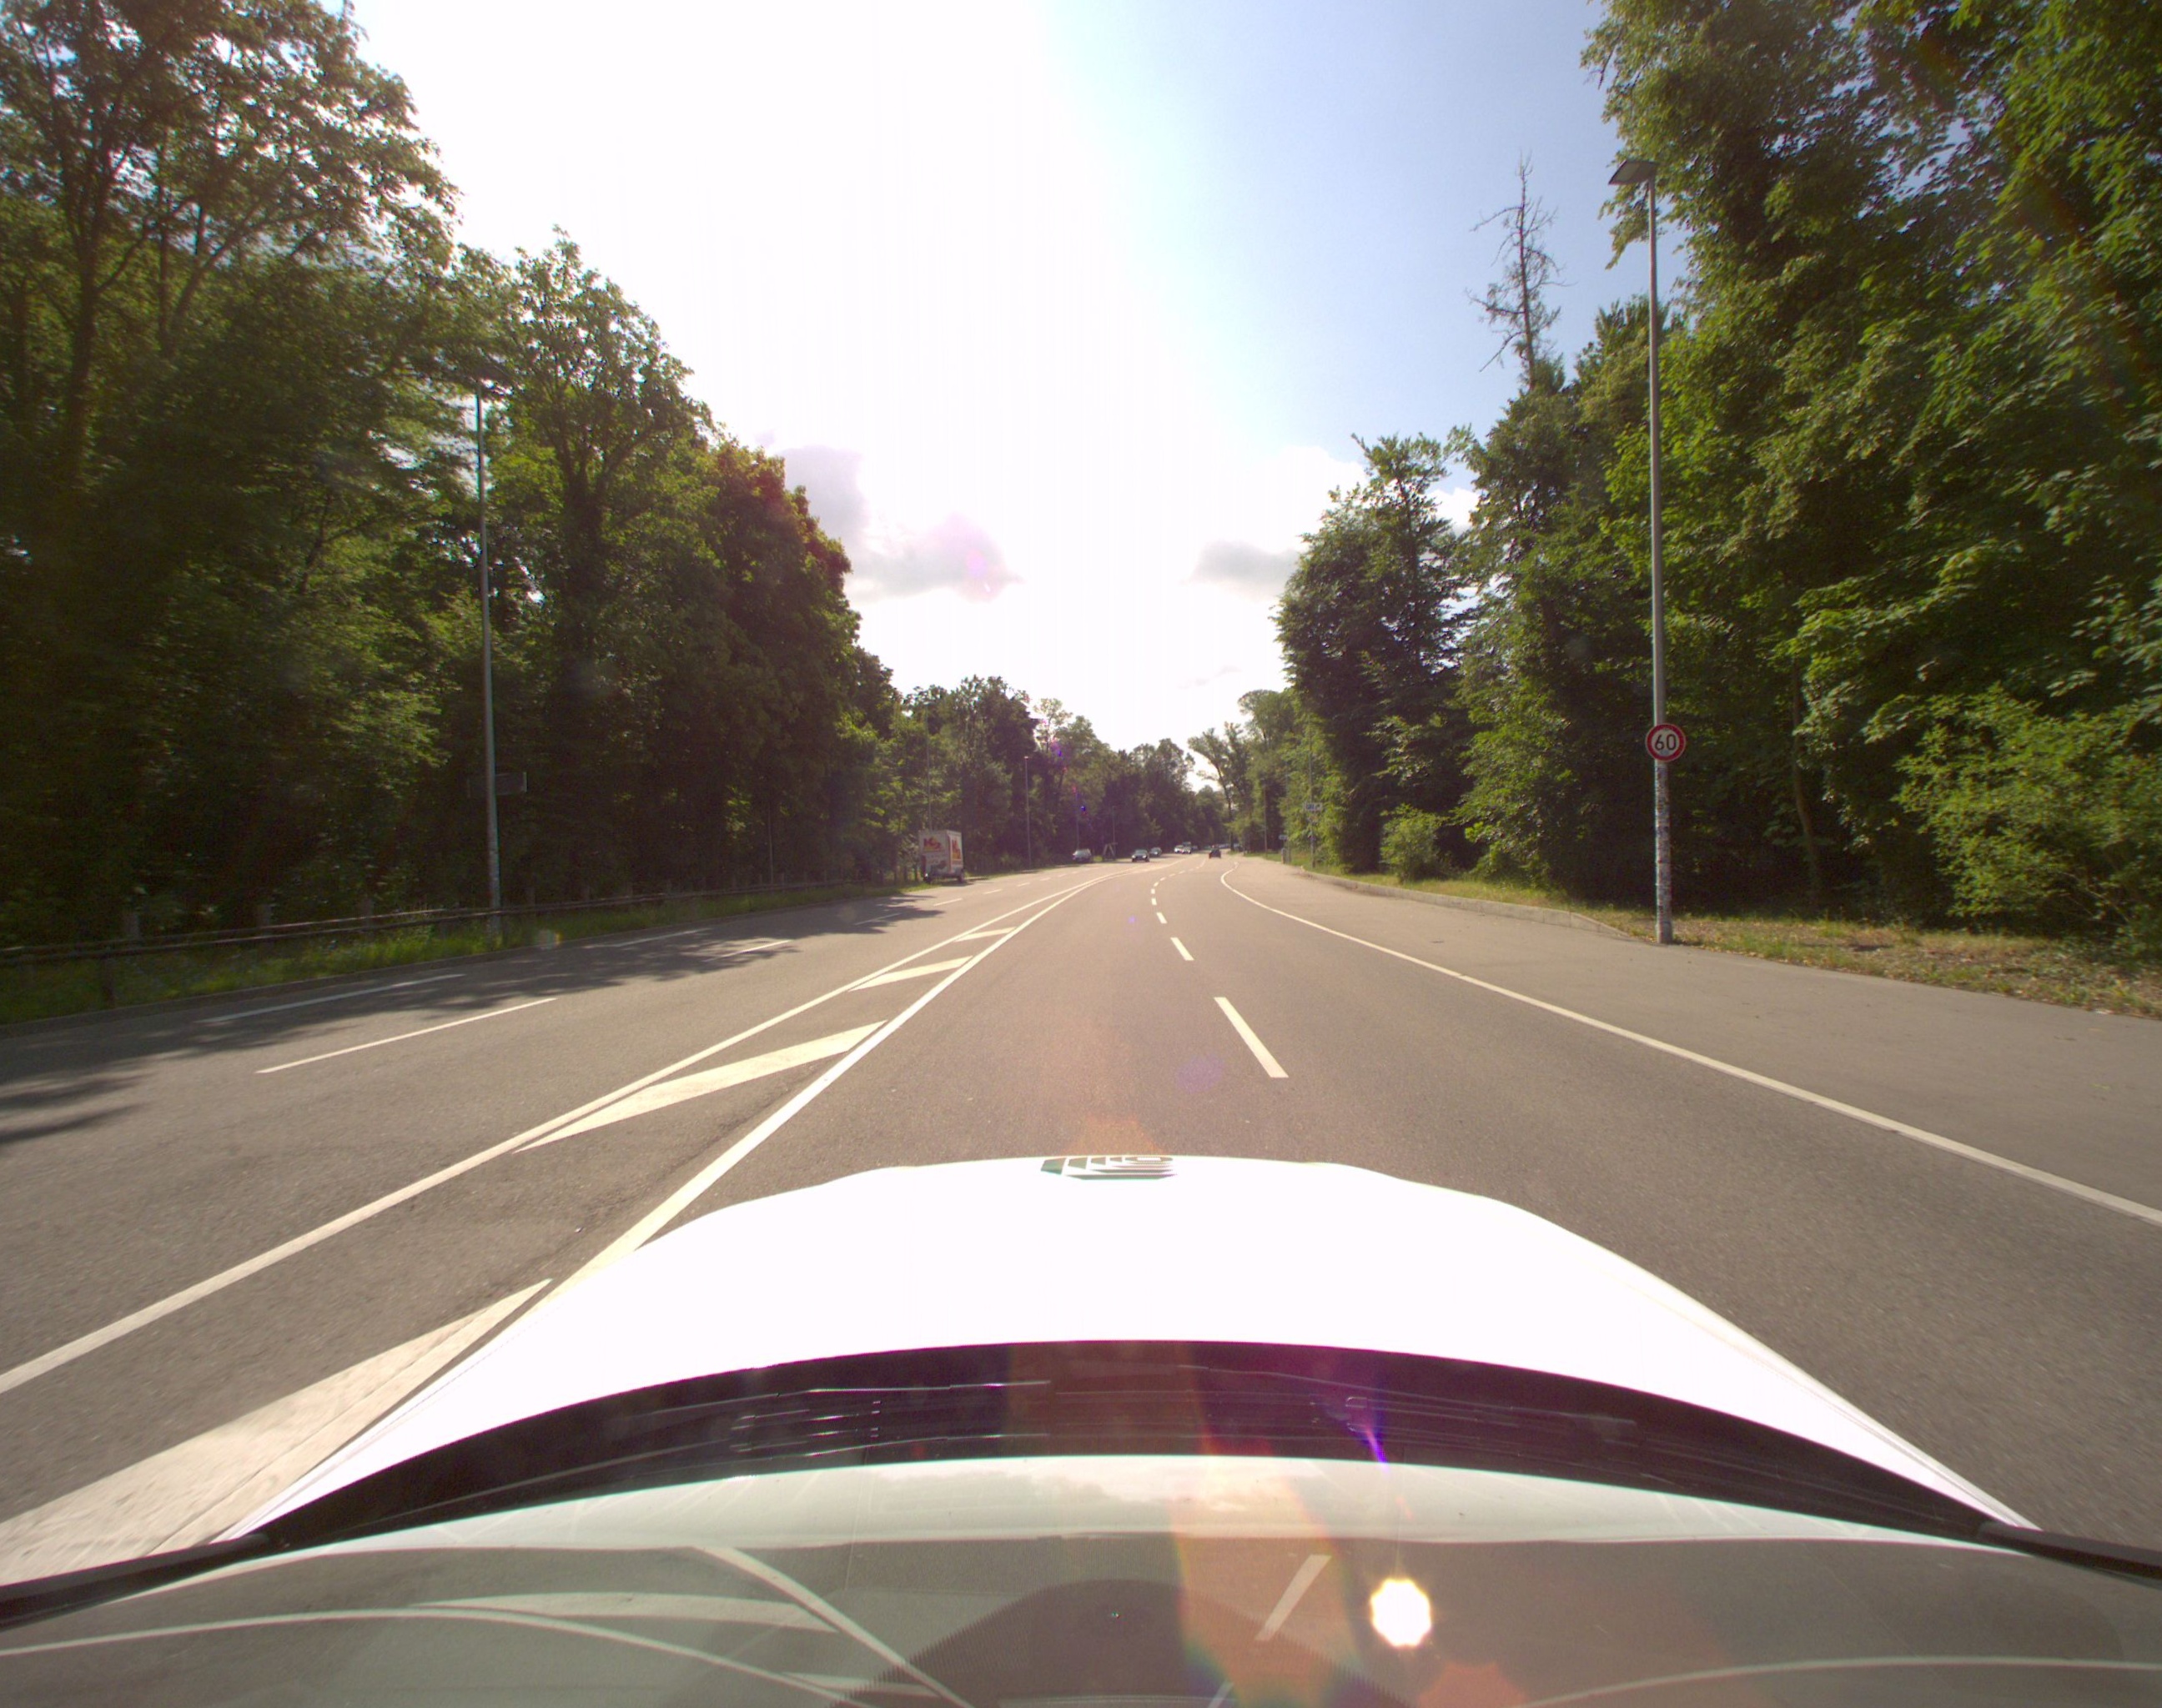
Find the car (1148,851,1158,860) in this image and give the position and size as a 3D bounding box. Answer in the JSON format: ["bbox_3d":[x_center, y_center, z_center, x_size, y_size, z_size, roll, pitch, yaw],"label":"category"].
[{"bbox_3d":[12.153,0.206,137.347,1.496,1.446,3.534,-1,0,5],"label":"car"}]

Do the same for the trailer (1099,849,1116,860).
[{"bbox_3d":[3.538,0.045,109.209,1.705,1.354,3.743,-1,0,10],"label":"trailer"}]

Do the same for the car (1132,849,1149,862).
[{"bbox_3d":[7.025,0.125,95.810,1.493,1.446,3.541,-1,0,12],"label":"car"}]

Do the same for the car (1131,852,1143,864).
[{"bbox_3d":[9.487,0.693,138.004,1.914,1.855,4.005,-1,0,4],"label":"car"}]

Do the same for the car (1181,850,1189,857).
[{"bbox_3d":[21.411,-0.074,167.147,1.494,1.446,3.539,-1,0,10],"label":"car"}]

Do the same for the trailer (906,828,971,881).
[{"bbox_3d":[-6.777,0.004,39.167,1.983,2.388,4.007,-1,0,6],"label":"trailer"}]

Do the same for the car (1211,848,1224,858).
[{"bbox_3d":[19.835,-0.168,118.253,1.587,1.378,3.988,-1,0,11],"label":"car"}]

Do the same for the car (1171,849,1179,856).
[{"bbox_3d":[20.278,-0.415,175.489,1.494,1.446,3.540,-1,0,11],"label":"car"}]

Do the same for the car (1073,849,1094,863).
[{"bbox_3d":[0.266,0.152,87.551,1.493,1.446,3.542,-1,0,13],"label":"car"}]
